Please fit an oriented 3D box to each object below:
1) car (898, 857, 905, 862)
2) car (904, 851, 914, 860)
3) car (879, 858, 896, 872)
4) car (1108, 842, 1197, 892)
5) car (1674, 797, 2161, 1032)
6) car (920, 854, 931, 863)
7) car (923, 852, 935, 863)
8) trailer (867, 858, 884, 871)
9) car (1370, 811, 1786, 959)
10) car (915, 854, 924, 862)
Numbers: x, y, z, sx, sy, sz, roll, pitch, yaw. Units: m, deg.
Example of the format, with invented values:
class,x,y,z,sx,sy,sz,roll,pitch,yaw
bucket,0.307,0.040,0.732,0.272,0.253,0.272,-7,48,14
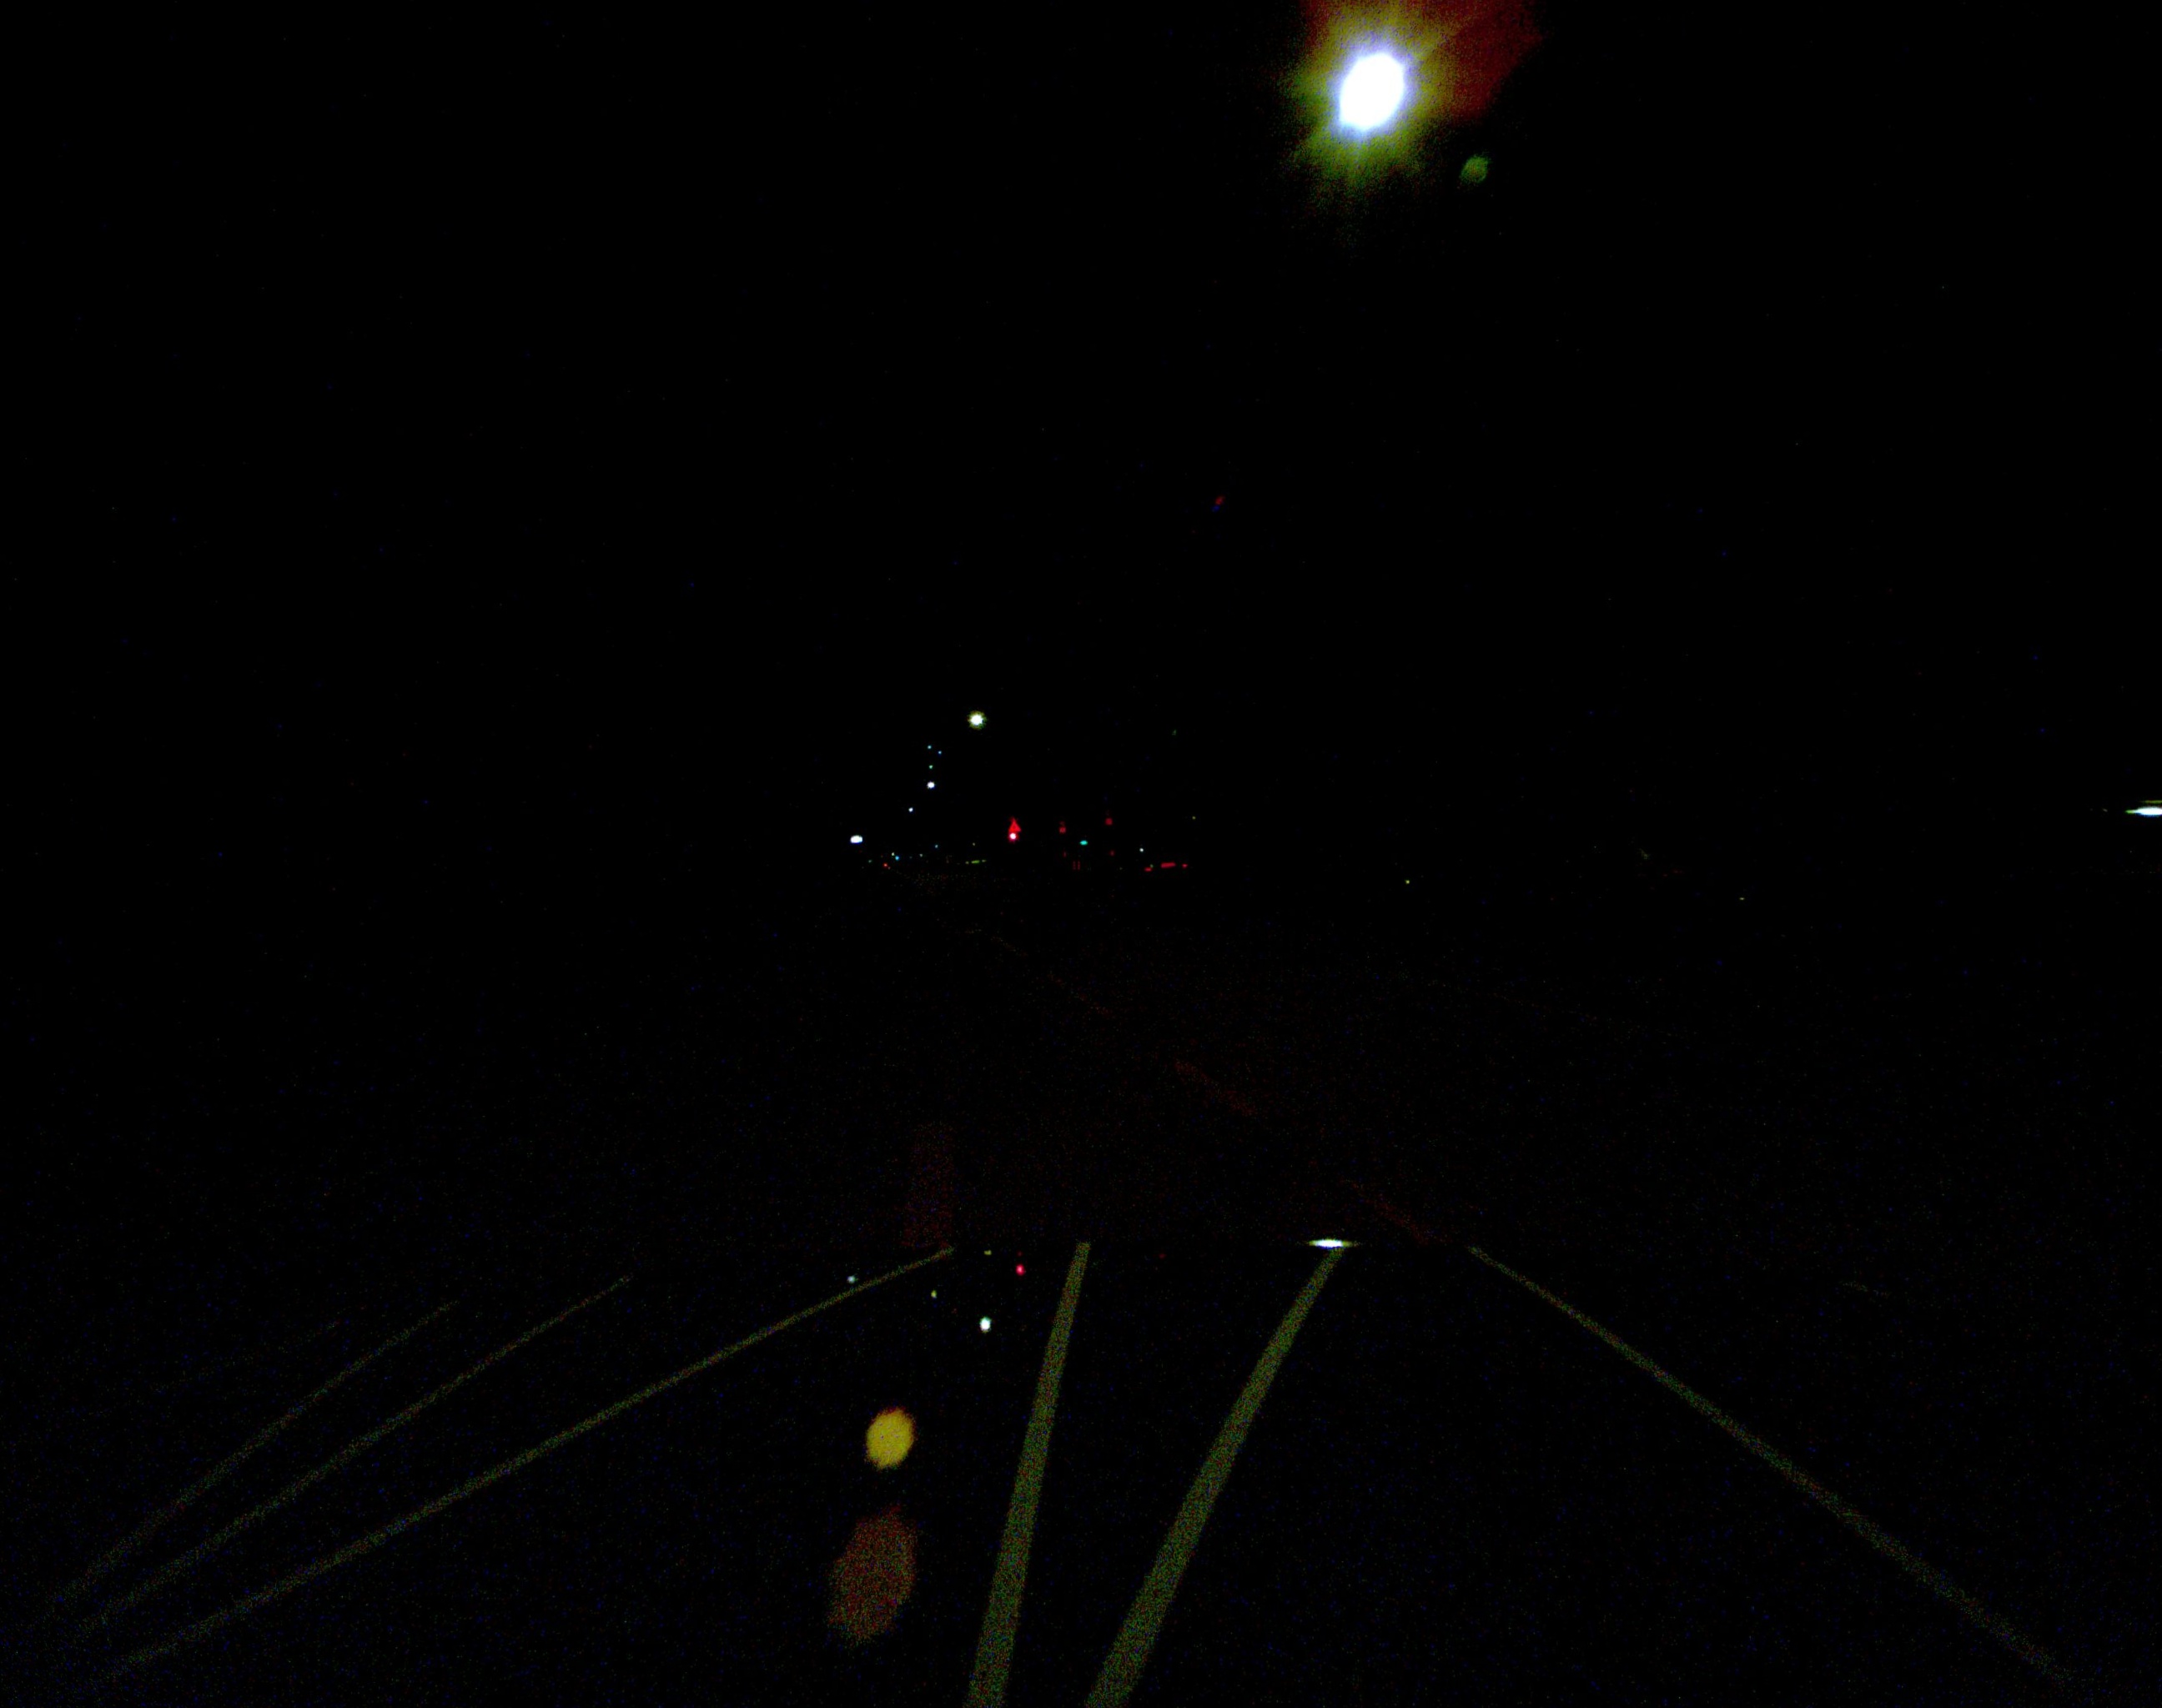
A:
class,x,y,z,sx,sy,sz,roll,pitch,yaw
car,-57.030,1.622,240.774,1.828,1.424,3.726,-7,1,-16
car,-48.574,0.478,214.622,2.007,2.493,4.947,-7,2,-16
car,-21.835,1.241,85.920,1.592,1.453,3.792,-5,1,-12
car,2.390,0.422,26.354,1.720,1.485,3.985,-5,1,-14
car,7.559,0.351,5.646,1.774,1.477,4.857,-3,1,-15
car,-30.731,0.893,150.158,1.828,1.424,3.726,-7,1,-13
car,-28.858,0.689,144.499,1.884,1.799,3.726,-7,1,-13
trailer,-25.439,1.284,94.115,1.606,1.486,3.730,-5,1,-11
car,6.292,0.319,10.472,1.775,1.477,4.761,-3,1,-16
car,-36.536,0.937,171.407,1.828,1.637,3.726,-3,1,-14
